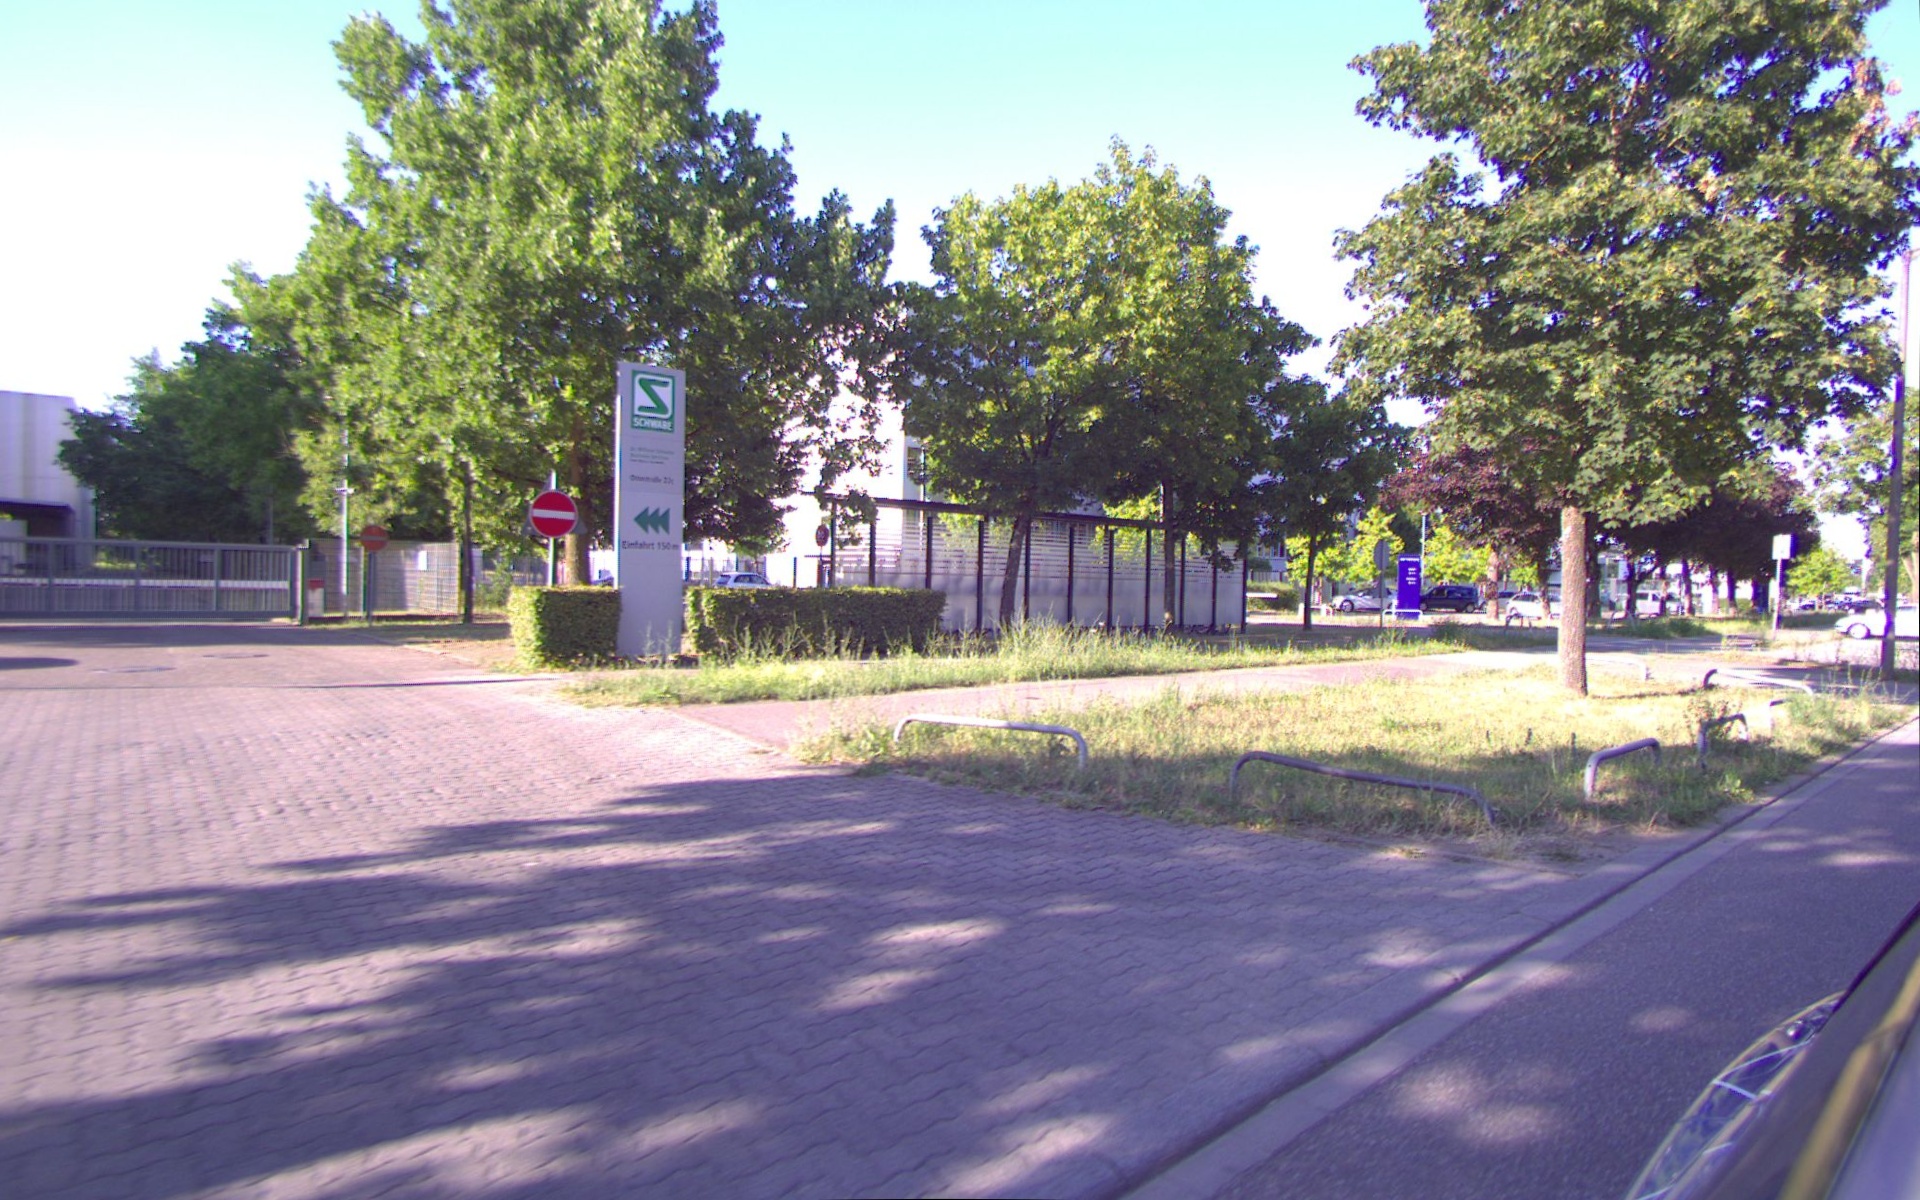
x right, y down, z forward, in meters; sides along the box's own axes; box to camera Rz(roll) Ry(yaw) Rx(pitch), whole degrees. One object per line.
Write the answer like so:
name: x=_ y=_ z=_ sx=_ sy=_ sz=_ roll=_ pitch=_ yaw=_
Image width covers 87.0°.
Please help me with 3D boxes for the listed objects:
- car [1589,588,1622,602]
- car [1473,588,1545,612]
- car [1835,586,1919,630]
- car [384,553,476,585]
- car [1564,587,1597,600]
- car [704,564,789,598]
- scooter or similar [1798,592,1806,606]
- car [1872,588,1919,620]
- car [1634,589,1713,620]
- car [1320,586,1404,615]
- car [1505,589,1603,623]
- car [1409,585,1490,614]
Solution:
car: x=77.957 y=-0.602 z=122.147 sx=4.477 sy=1.450 sz=2.037 roll=1 pitch=1 yaw=-39
car: x=40.064 y=-0.016 z=73.920 sx=4.243 sy=1.548 sz=1.802 roll=2 pitch=1 yaw=10
car: x=36.215 y=0.356 z=38.214 sx=1.961 sy=1.497 sz=4.377 roll=1 pitch=3 yaw=-33
car: x=-26.453 y=-1.539 z=50.578 sx=3.719 sy=1.415 sz=1.868 roll=1 pitch=1 yaw=-42
car: x=76.348 y=-0.788 z=124.469 sx=4.477 sy=1.450 sz=2.037 roll=1 pitch=1 yaw=-39
car: x=-10.362 y=-0.927 z=49.277 sx=3.760 sy=1.549 sz=1.620 roll=0 pitch=2 yaw=-42
scooter or similar: x=77.512 y=-0.100 z=93.207 sx=0.519 sy=1.288 sz=1.183 roll=2 pitch=1 yaw=40
car: x=50.291 y=0.259 z=51.855 sx=5.177 sy=1.593 sz=2.123 roll=3 pitch=2 yaw=44
car: x=48.151 y=0.304 z=68.441 sx=1.964 sy=1.958 sz=4.950 roll=2 pitch=0 yaw=3
car: x=23.803 y=-0.001 z=60.035 sx=4.232 sy=1.546 sz=1.764 roll=2 pitch=1 yaw=8
car: x=31.563 y=0.275 z=53.949 sx=1.960 sy=1.593 sz=4.959 roll=2 pitch=1 yaw=-4
car: x=32.451 y=-0.038 z=67.224 sx=4.417 sy=1.772 sz=1.765 roll=2 pitch=1 yaw=5
